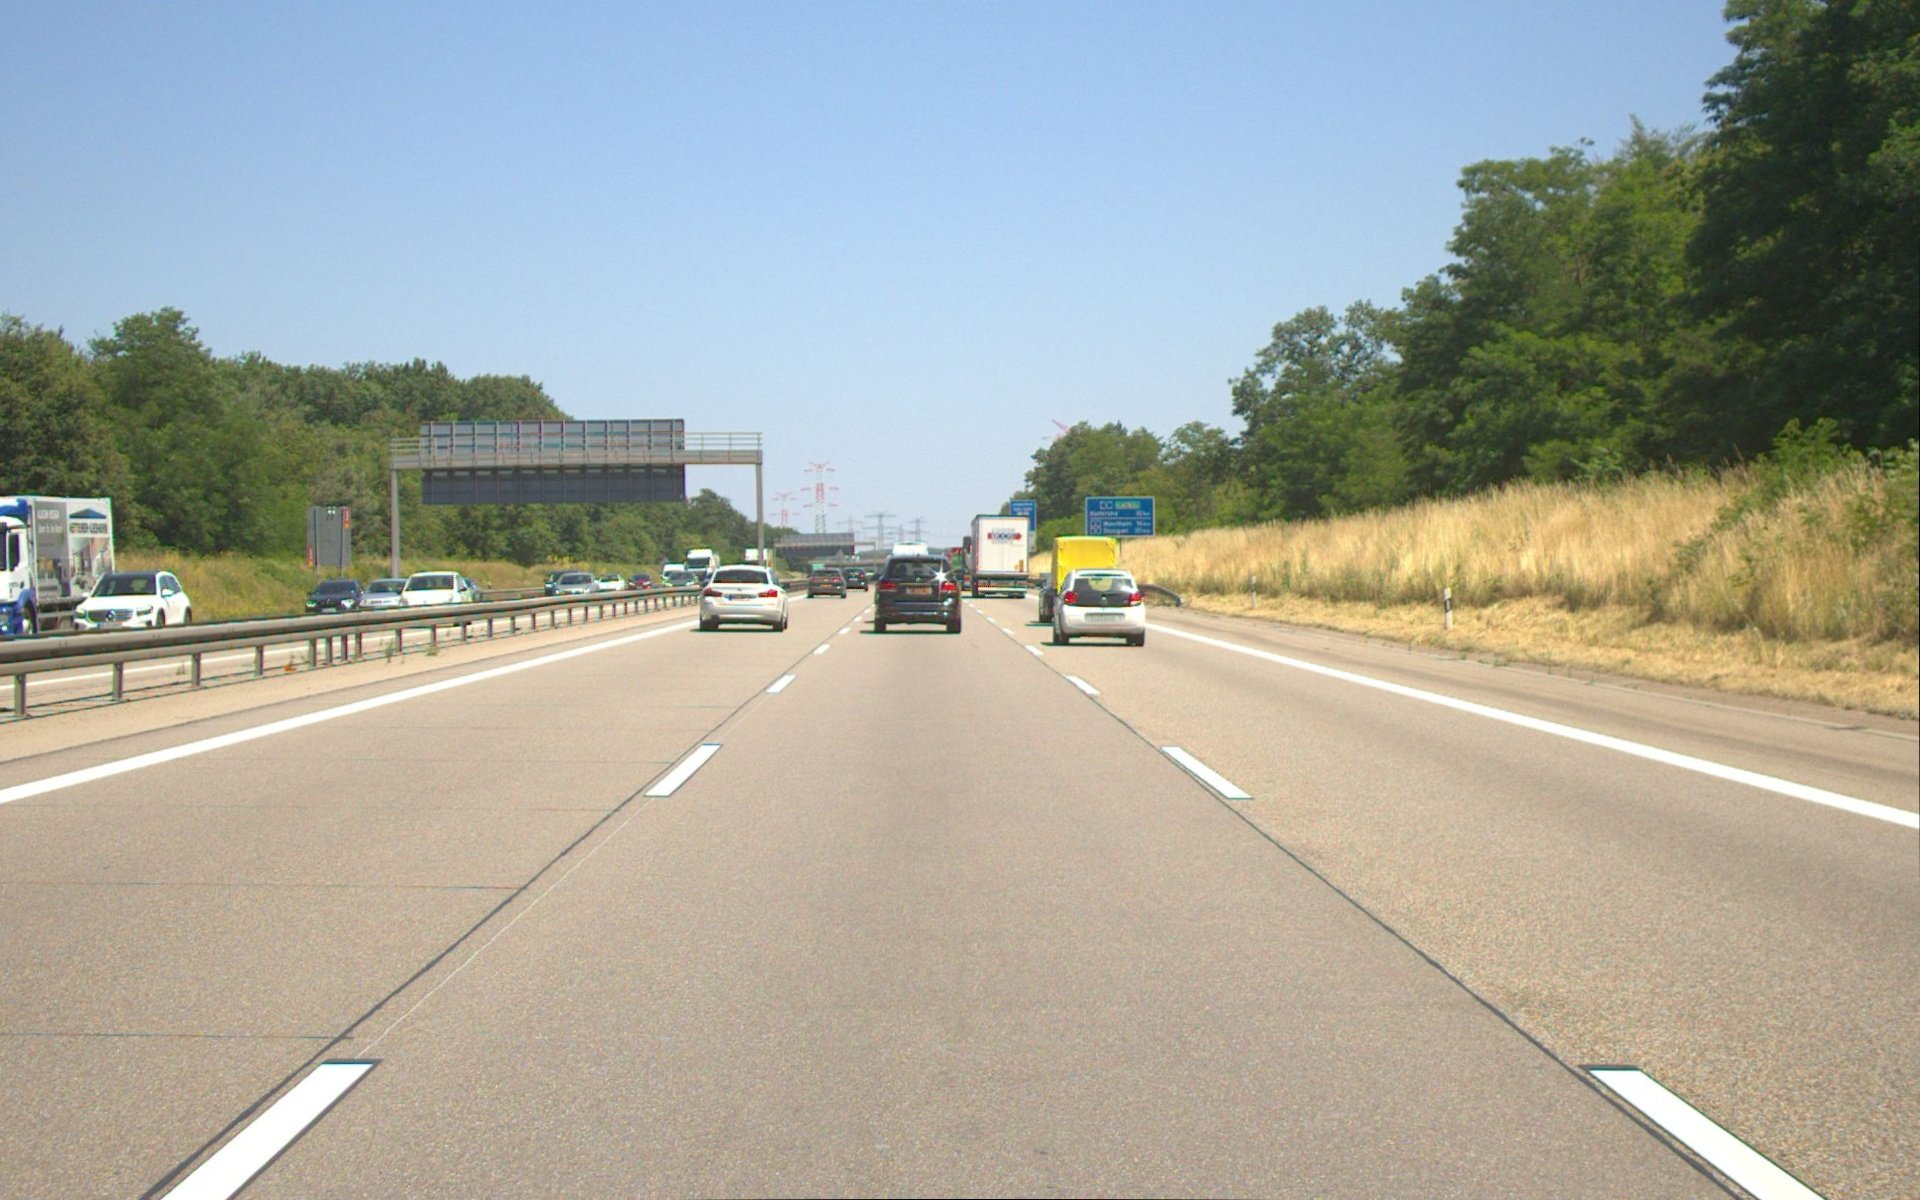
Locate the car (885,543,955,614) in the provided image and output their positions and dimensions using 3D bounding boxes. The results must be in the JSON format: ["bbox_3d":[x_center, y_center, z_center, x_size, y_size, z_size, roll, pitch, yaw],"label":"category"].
[{"bbox_3d":[-1.083,-0.564,91.793,1.814,1.821,5.111,0,0,-1],"label":"car"}]

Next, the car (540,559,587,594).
[{"bbox_3d":[-19.785,-1.192,171.738,1.794,1.613,4.987,-3,1,-1],"label":"car"}]

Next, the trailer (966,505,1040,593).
[{"bbox_3d":[2.090,-2.478,172.978,3.286,4.205,13.565,1,0,-1],"label":"trailer"}]

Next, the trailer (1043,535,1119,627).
[{"bbox_3d":[3.099,-0.495,88.560,1.703,2.282,3.840,1,0,-2],"label":"trailer"}]

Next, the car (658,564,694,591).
[{"bbox_3d":[-16.077,-1.268,194.755,1.698,1.424,4.574,-3,1,-1],"label":"car"}]

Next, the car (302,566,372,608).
[{"bbox_3d":[-22.842,-0.486,126.213,1.654,1.406,5.176,-3,1,-1],"label":"car"}]

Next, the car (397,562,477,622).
[{"bbox_3d":[-13.721,-0.230,90.347,1.516,1.462,3.640,-3,1,-1],"label":"car"}]

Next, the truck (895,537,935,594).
[{"bbox_3d":[-2.356,-1.797,179.629,2.060,2.904,7.003,0,0,-1],"label":"truck"}]

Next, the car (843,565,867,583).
[{"bbox_3d":[-6.514,-1.603,212.552,1.405,1.128,3.358,1,0,-1],"label":"car"}]

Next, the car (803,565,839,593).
[{"bbox_3d":[-6.591,-1.000,163.020,1.607,1.296,3.674,1,0,-1],"label":"car"}]

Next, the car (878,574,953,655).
[{"bbox_3d":[-0.984,0.294,76.812,1.626,1.749,3.805,1,0,-1],"label":"car"}]

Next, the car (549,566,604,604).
[{"bbox_3d":[-15.998,-0.635,143.637,1.761,1.454,5.121,-3,1,-1],"label":"car"}]

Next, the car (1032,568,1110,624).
[{"bbox_3d":[2.975,-0.129,92.909,1.821,1.451,4.789,1,0,-2],"label":"car"}]

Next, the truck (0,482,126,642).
[{"bbox_3d":[-22.226,-0.828,80.800,2.732,3.506,10.442,-3,1,-1],"label":"truck"}]

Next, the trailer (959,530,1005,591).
[{"bbox_3d":[1.405,-2.551,227.084,2.682,3.824,12.010,1,0,-1],"label":"trailer"}]

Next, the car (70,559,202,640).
[{"bbox_3d":[-18.077,-0.042,75.666,1.727,1.640,5.089,-3,1,-1],"label":"car"}]

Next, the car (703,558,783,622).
[{"bbox_3d":[-4.847,-0.242,77.147,1.669,1.396,3.713,0,1,-2],"label":"car"}]

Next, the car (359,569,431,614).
[{"bbox_3d":[-19.157,-0.315,116.761,1.761,1.403,4.353,-3,1,-1],"label":"car"}]

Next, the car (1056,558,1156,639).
[{"bbox_3d":[2.775,-0.044,66.075,1.708,1.490,4.024,1,0,-1],"label":"car"}]
